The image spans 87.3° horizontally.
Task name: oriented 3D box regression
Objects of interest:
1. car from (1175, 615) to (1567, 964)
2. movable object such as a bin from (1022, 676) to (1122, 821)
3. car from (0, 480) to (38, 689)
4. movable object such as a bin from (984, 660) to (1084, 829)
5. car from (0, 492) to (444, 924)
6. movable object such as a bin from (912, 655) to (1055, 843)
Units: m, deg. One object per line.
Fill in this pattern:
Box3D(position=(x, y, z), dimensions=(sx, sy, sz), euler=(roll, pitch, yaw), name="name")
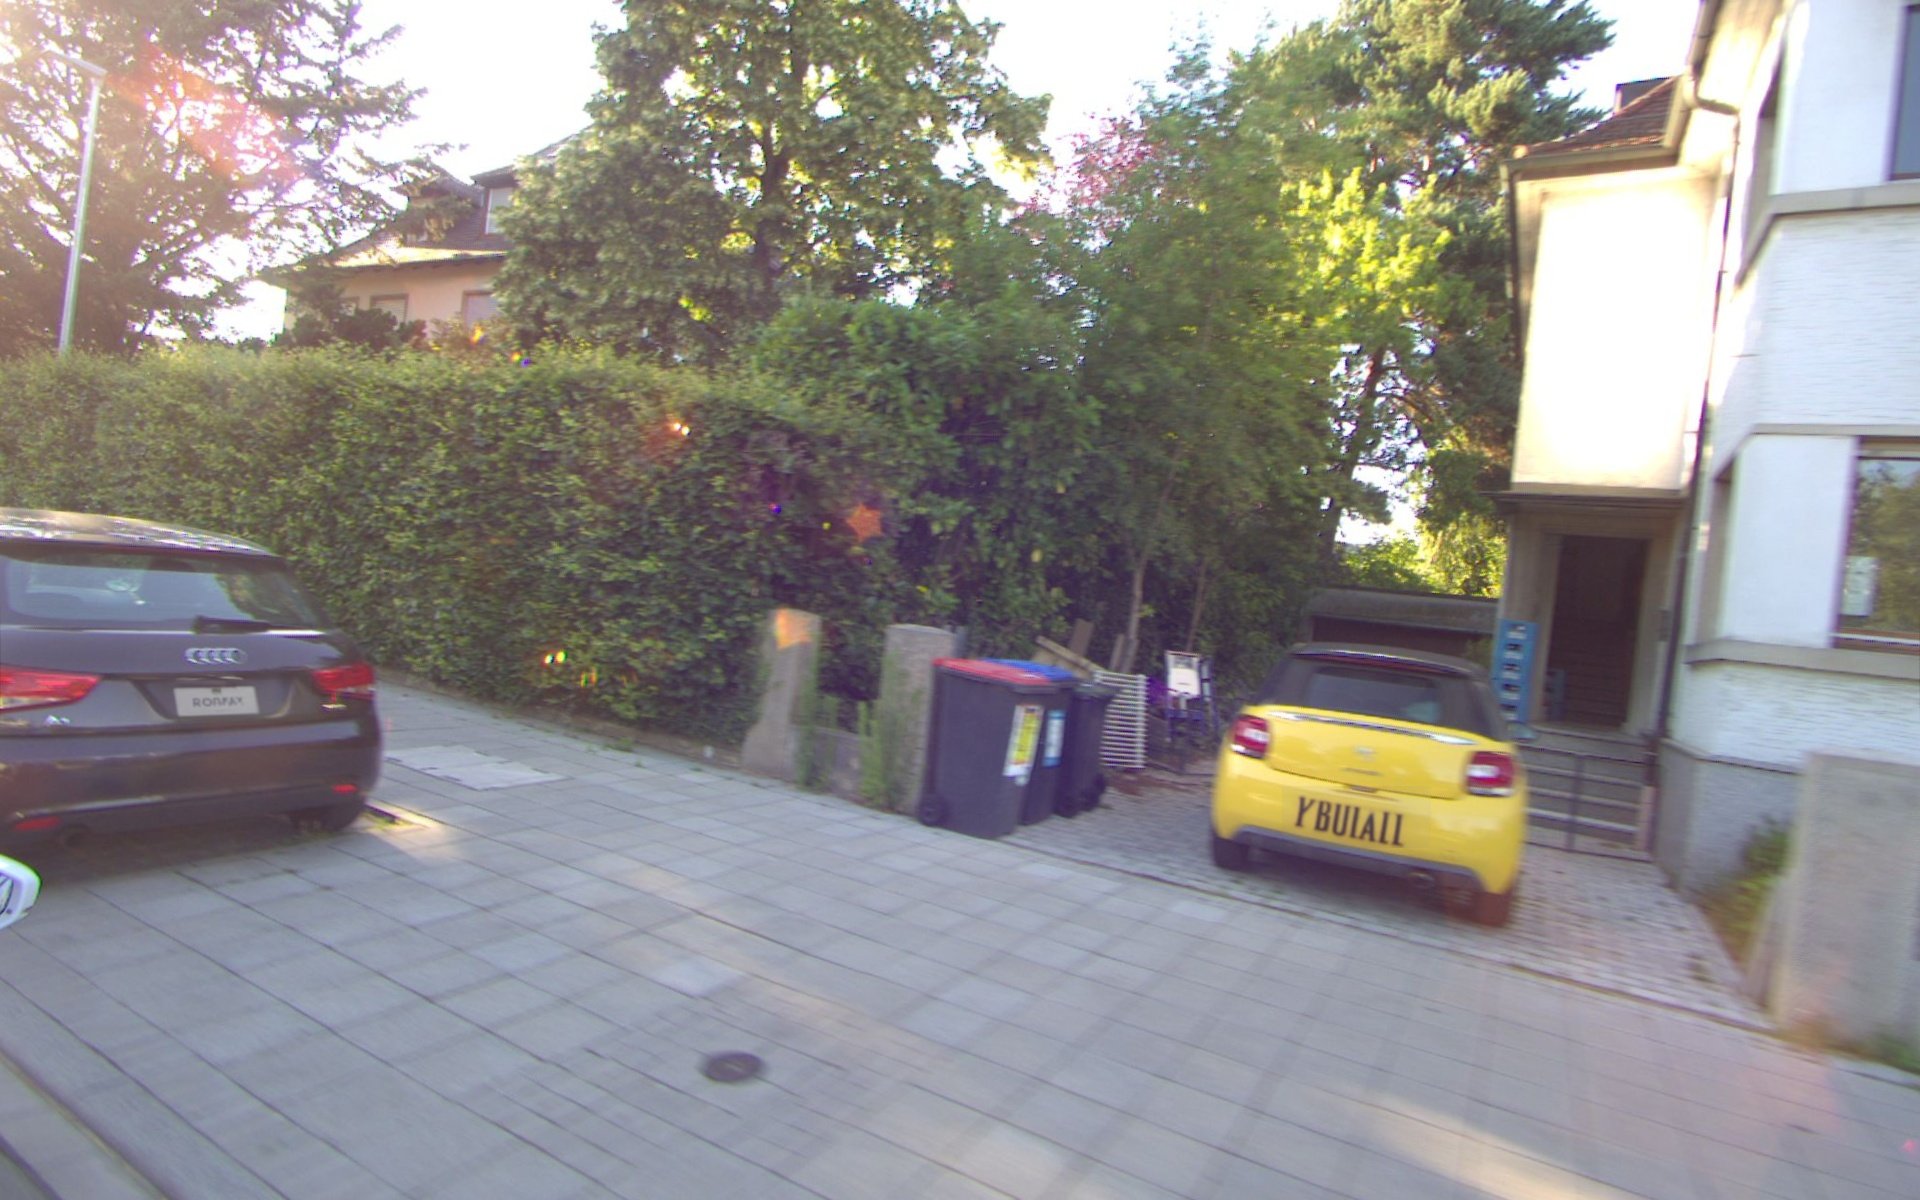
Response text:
Box3D(position=(2.868, 1.013, 6.886), dimensions=(1.750, 1.515, 3.641), euler=(7, 0, 26), name="car")
Box3D(position=(0.827, 1.069, 7.378), dimensions=(0.493, 0.955, 0.509), euler=(7, -1, 25), name="movable object such as a bin")
Box3D(position=(-9.617, -0.407, 7.977), dimensions=(4.789, 1.561, 1.863), euler=(6, -1, 29), name="car")
Box3D(position=(0.515, 0.967, 6.883), dimensions=(0.409, 1.055, 0.509), euler=(7, -1, 25), name="movable object such as a bin")
Box3D(position=(-4.514, 0.221, 4.909), dimensions=(3.870, 1.446, 1.643), euler=(6, 1, 30), name="car")
Box3D(position=(0.157, 0.927, 6.429), dimensions=(0.647, 1.055, 0.509), euler=(7, -1, 25), name="movable object such as a bin")
